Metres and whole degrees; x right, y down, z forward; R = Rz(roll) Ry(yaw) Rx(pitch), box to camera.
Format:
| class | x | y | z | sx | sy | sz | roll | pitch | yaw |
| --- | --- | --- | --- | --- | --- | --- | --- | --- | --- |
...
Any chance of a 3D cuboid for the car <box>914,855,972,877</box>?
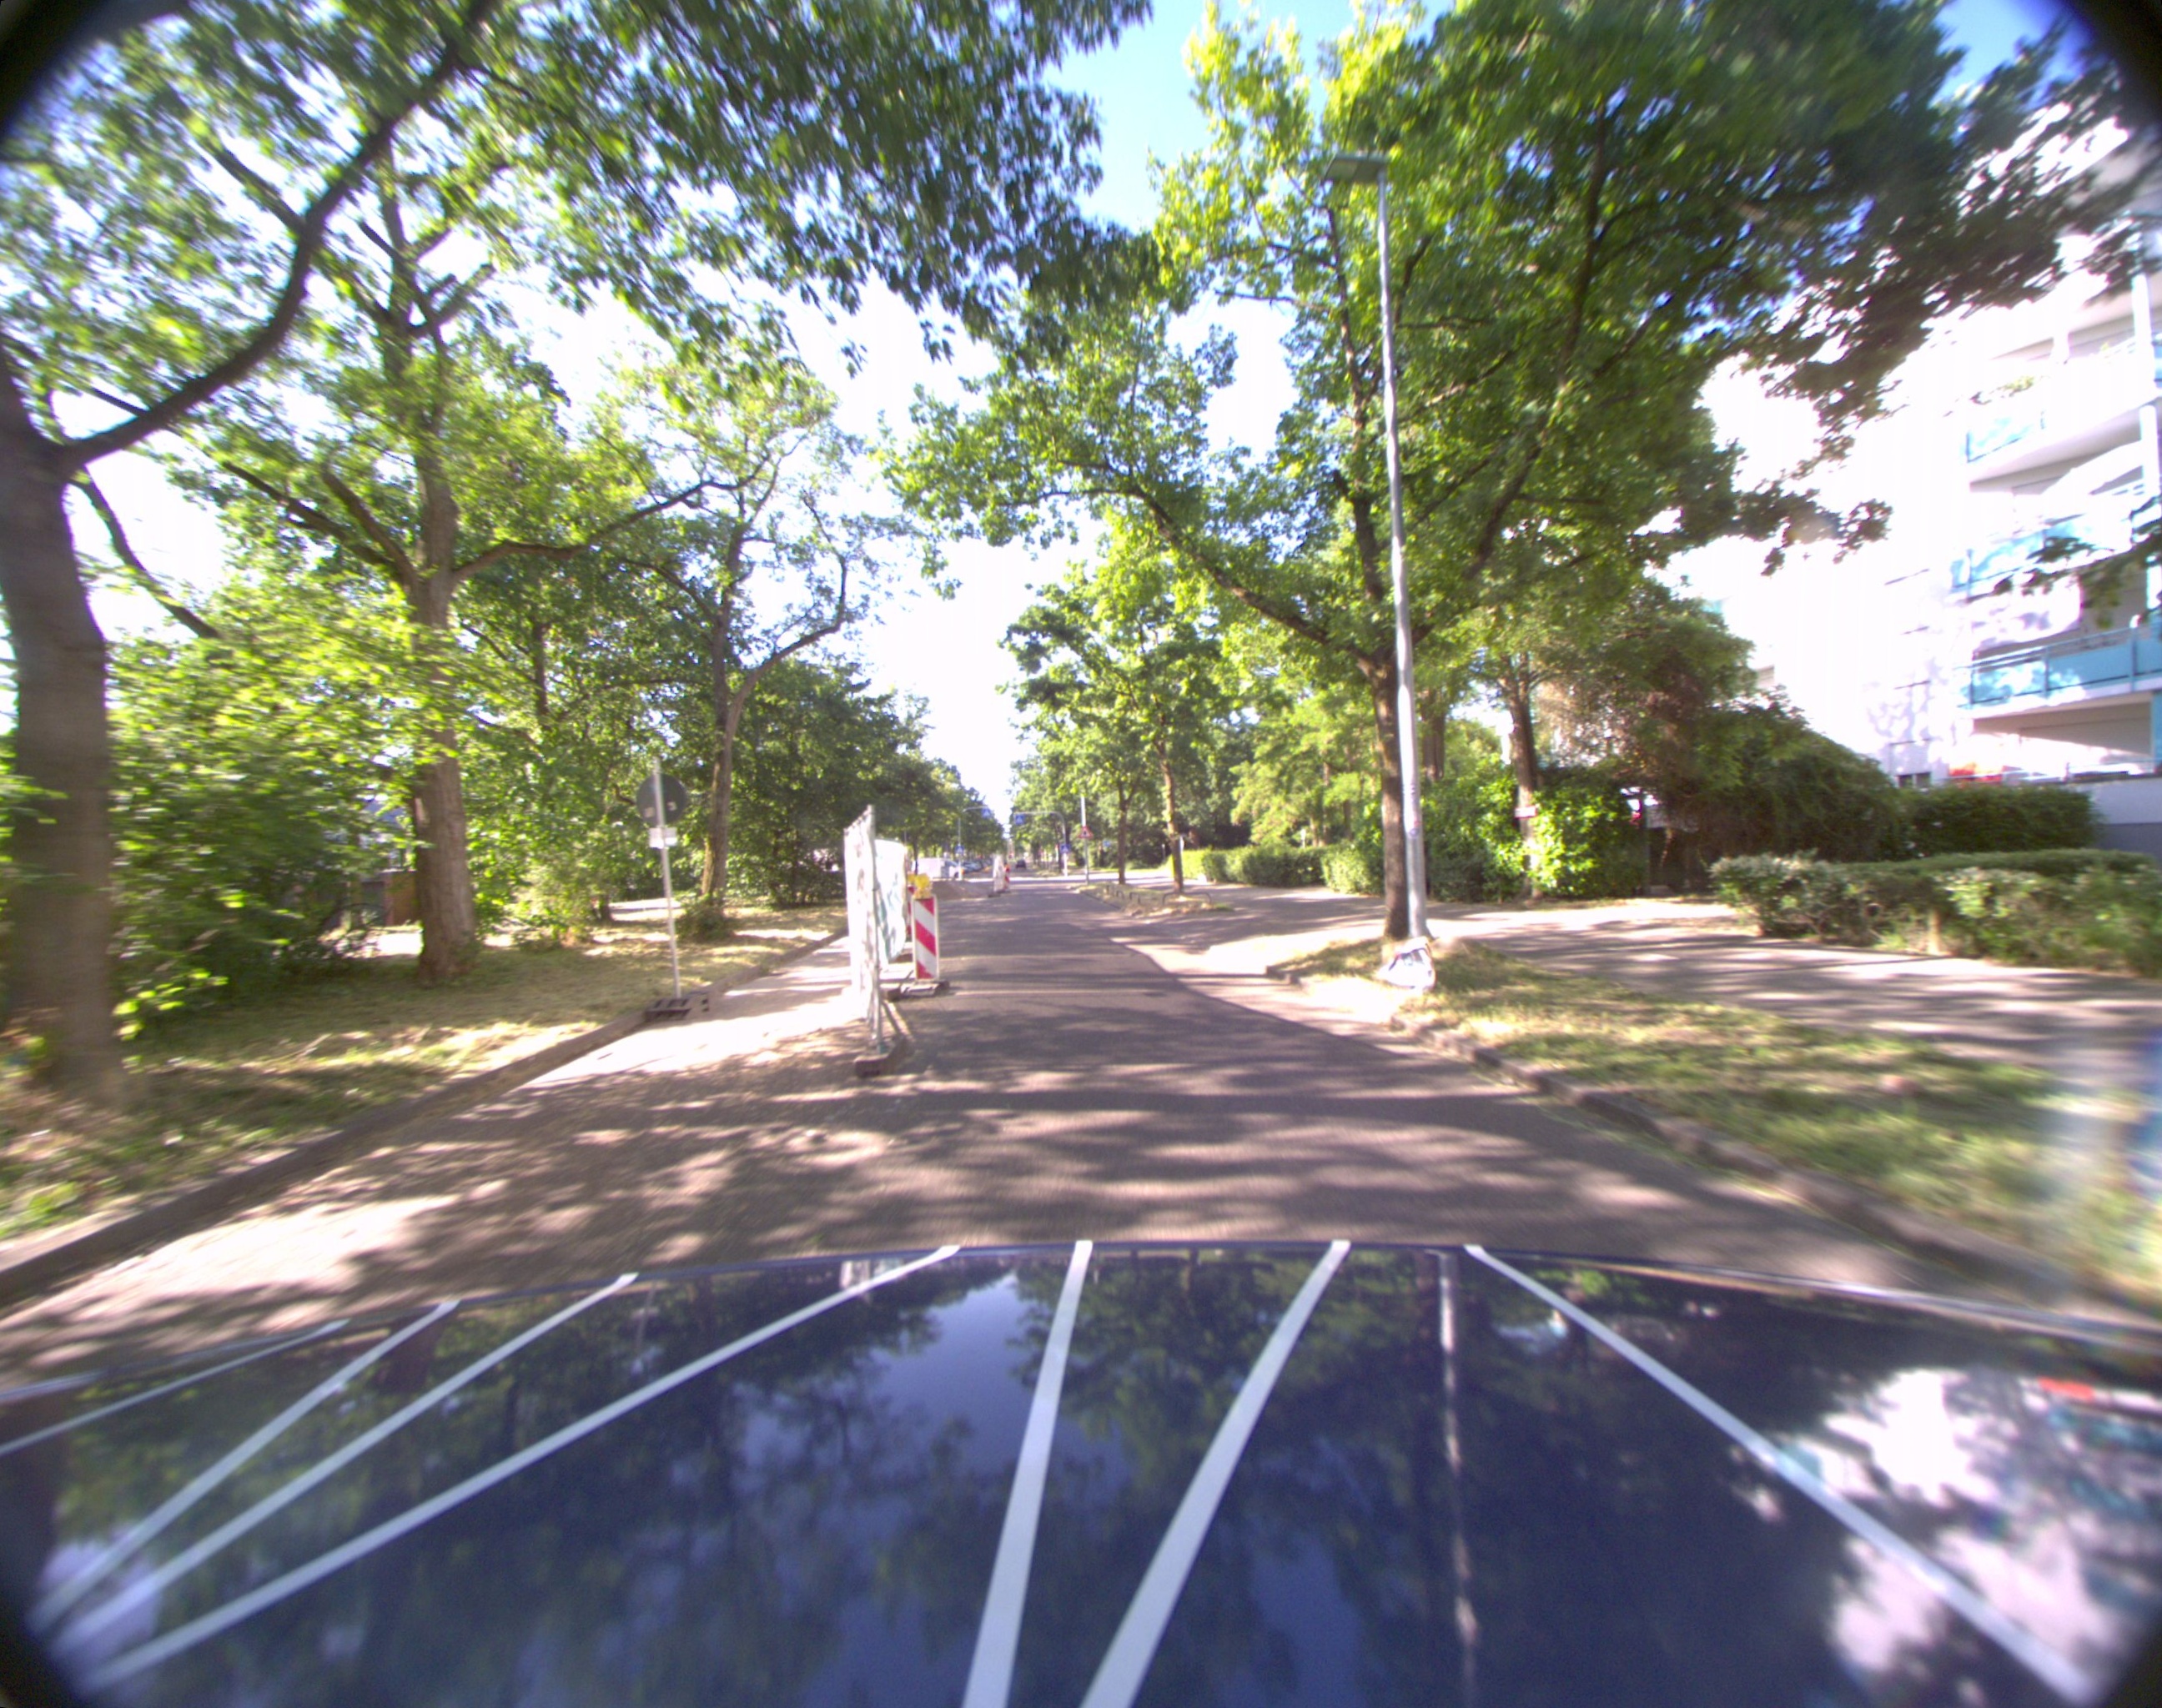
| class | x | y | z | sx | sy | sz | roll | pitch | yaw |
| --- | --- | --- | --- | --- | --- | --- | --- | --- | --- |
| car | -13.186 | 1.111 | 72.843 | 5.271 | 1.993 | 1.999 | -1 | 0 | -6 |

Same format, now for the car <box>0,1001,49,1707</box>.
| class | x | y | z | sx | sy | sz | roll | pitch | yaw |
| --- | --- | --- | --- | --- | --- | --- | --- | --- | --- |
| car | -2.945 | 1.046 | 0.246 | 1.498 | 1.500 | 2.676 | -3 | 0 | -2 |

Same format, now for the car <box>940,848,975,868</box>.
| class | x | y | z | sx | sy | sz | roll | pitch | yaw |
| --- | --- | --- | --- | --- | --- | --- | --- | --- | --- |
| car | -16.226 | 0.470 | 100.098 | 4.414 | 2.531 | 1.887 | -1 | 0 | -9 |

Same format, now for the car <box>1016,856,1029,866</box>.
| class | x | y | z | sx | sy | sz | roll | pitch | yaw |
| --- | --- | --- | --- | --- | --- | --- | --- | --- | --- |
| car | -10.342 | 1.224 | 134.788 | 1.999 | 1.805 | 3.999 | -3 | 0 | -2 |

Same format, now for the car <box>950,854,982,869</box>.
| class | x | y | z | sx | sy | sz | roll | pitch | yaw |
| --- | --- | --- | --- | --- | --- | --- | --- | --- | --- |
| car | -15.956 | 0.980 | 105.399 | 4.247 | 1.993 | 1.564 | -1 | 0 | -9 |

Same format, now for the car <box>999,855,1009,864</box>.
| class | x | y | z | sx | sy | sz | roll | pitch | yaw |
| --- | --- | --- | --- | --- | --- | --- | --- | --- | --- |
| car | -16.612 | 1.172 | 164.223 | 1.999 | 1.871 | 3.998 | -1 | 0 | -4 |
